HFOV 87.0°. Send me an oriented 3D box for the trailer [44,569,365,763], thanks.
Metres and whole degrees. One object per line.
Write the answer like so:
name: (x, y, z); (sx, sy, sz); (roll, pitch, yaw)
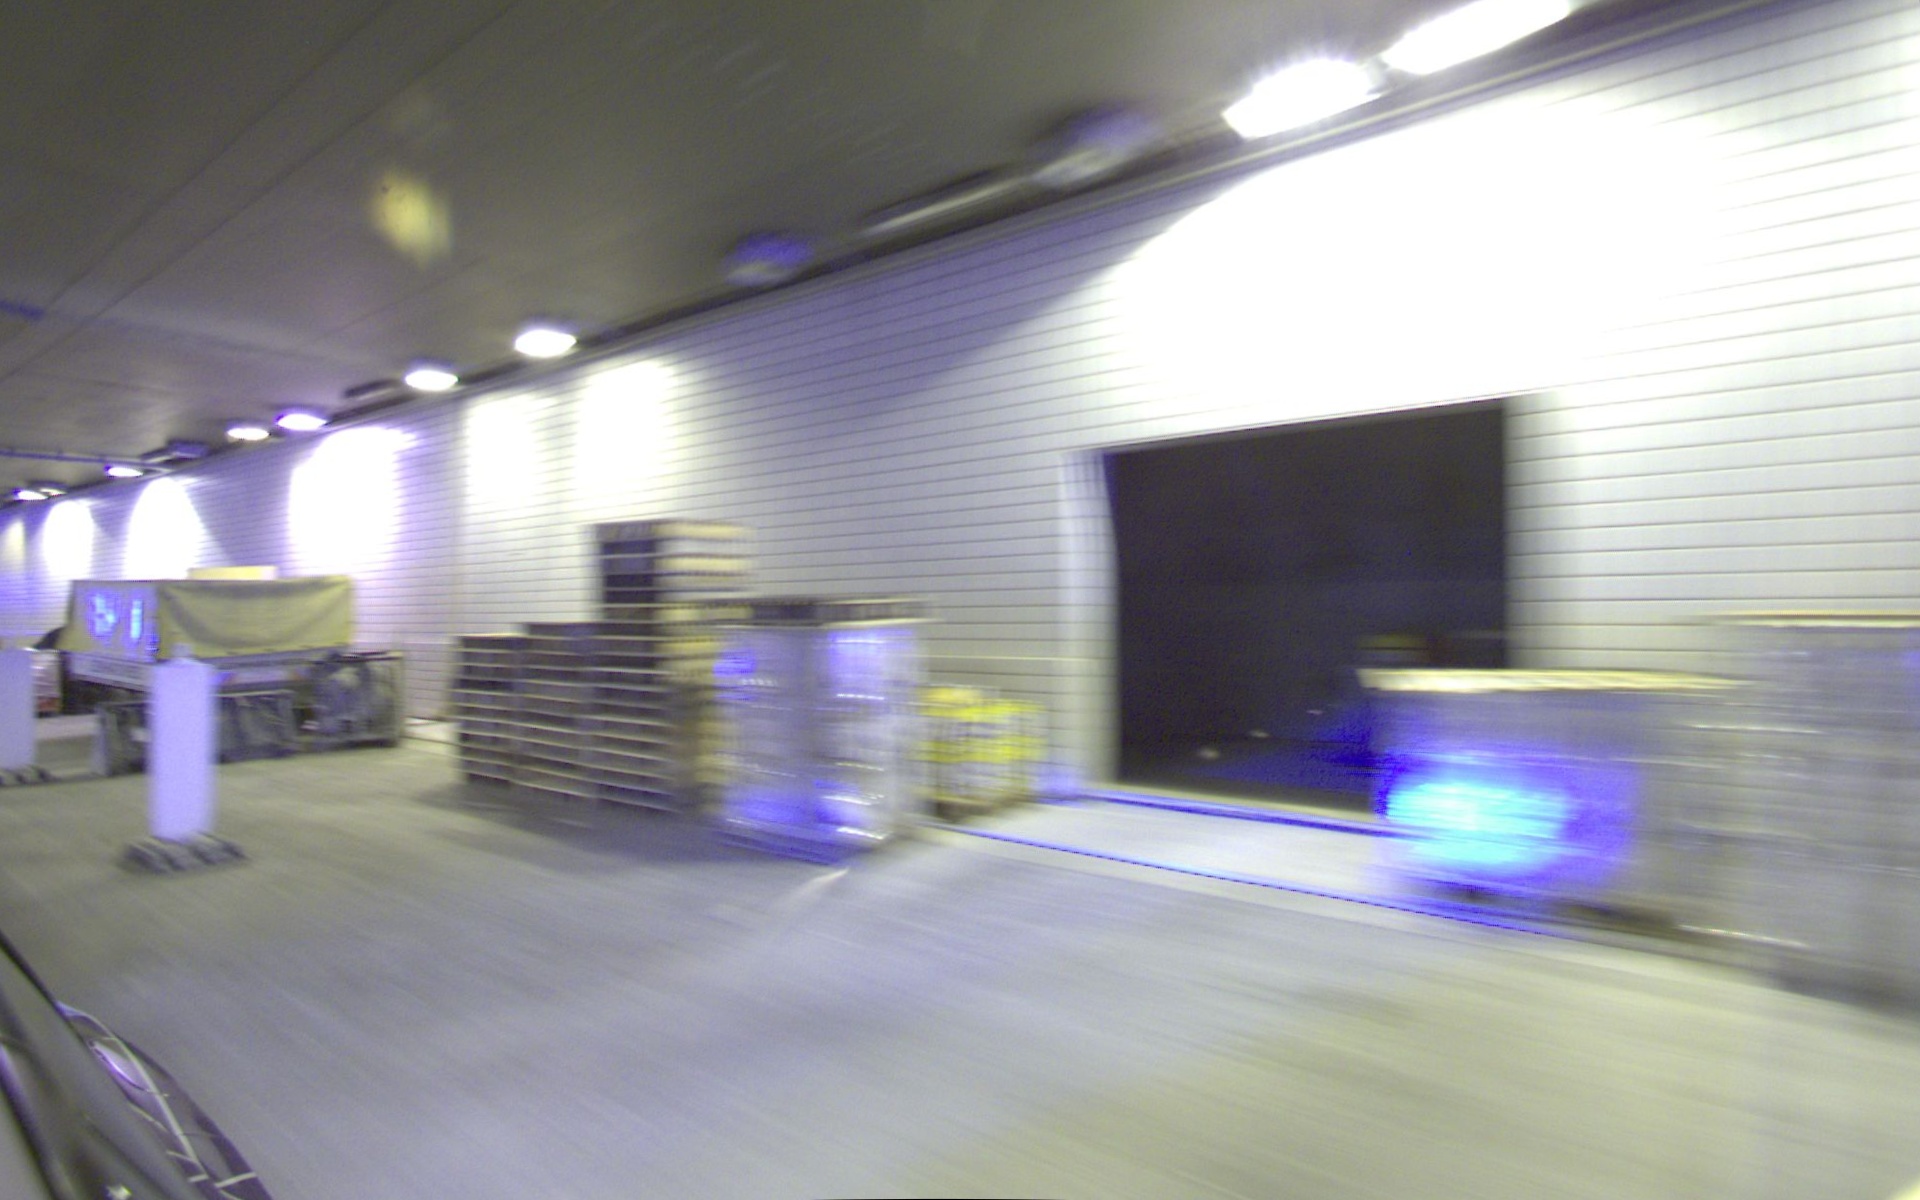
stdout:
trailer: (-9.327, 0.699, 12.483); (3.457, 2.029, 2.190); (-1, 0, 34)
